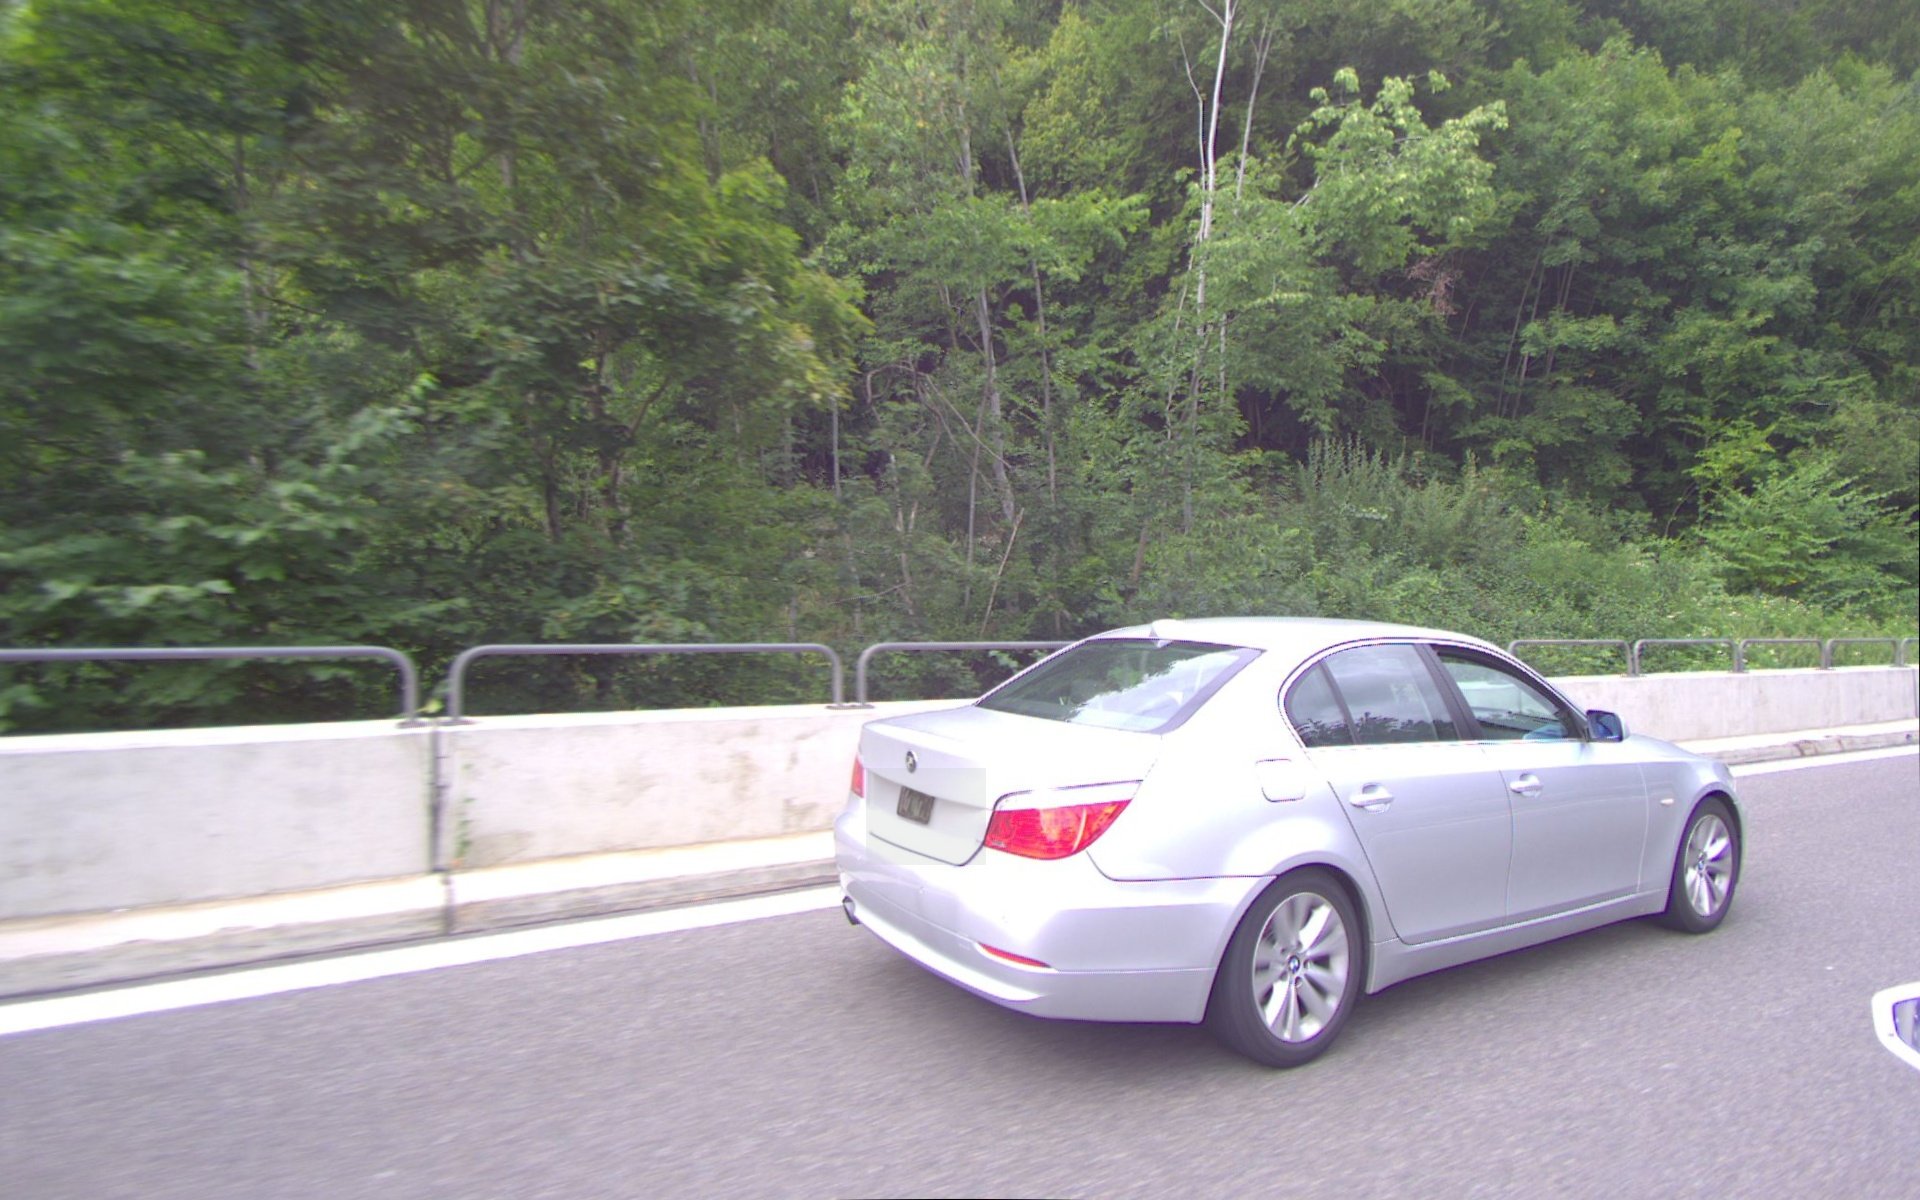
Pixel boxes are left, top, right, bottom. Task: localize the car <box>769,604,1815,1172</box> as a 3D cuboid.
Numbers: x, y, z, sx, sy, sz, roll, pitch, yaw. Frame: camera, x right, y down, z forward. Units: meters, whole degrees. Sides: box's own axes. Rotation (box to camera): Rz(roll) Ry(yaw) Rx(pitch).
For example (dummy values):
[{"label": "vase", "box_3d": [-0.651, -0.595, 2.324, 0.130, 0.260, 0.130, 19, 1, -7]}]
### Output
[{"label": "car", "box_3d": [1.844, 0.820, 4.726, 5.076, 1.476, 1.819, 2, -1, -31]}]
